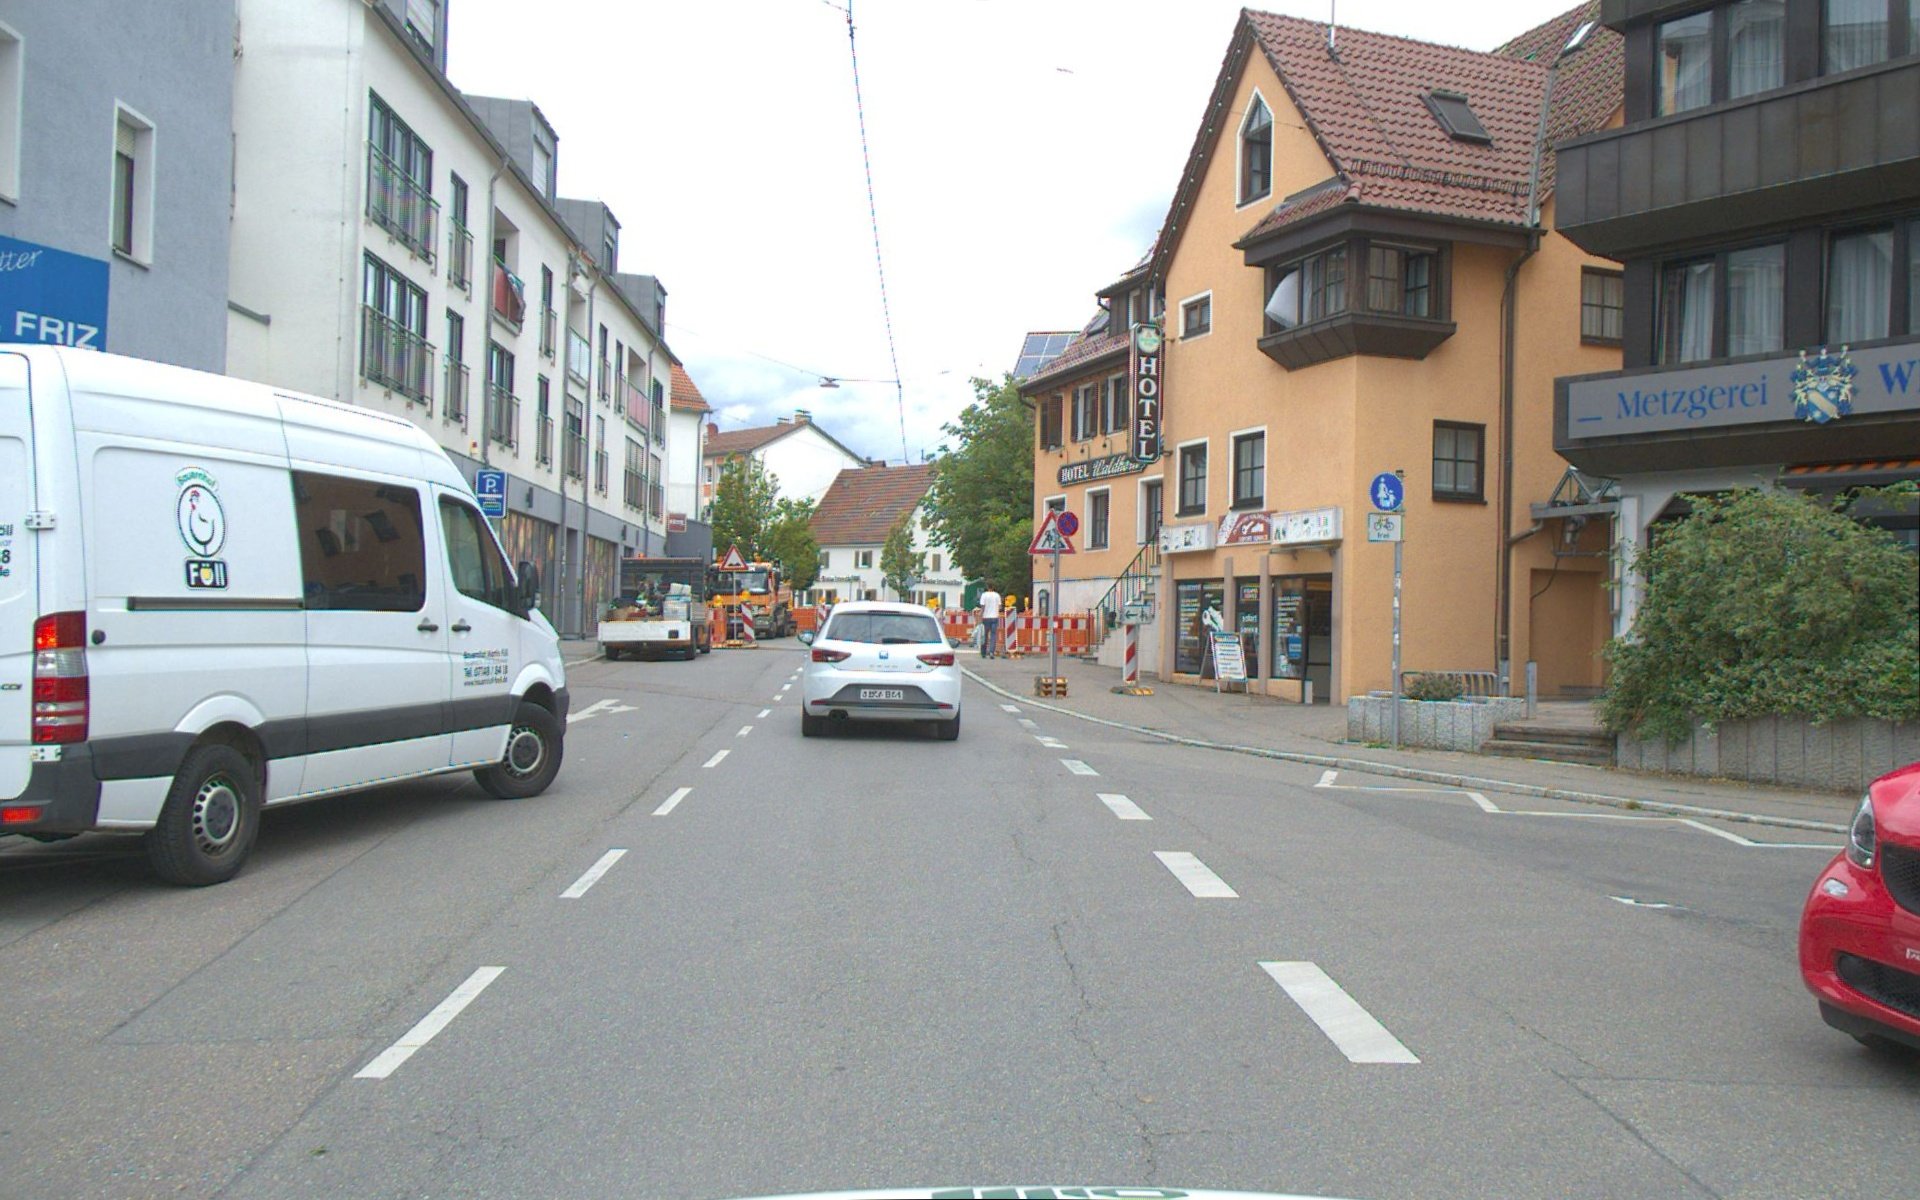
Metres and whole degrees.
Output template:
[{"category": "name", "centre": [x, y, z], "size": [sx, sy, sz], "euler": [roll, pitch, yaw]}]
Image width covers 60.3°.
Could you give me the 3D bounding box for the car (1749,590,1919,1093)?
[{"category": "car", "centre": [4.382, 0.753, 5.273], "size": [2.878, 1.547, 1.815], "euler": [0, 0, -11]}]

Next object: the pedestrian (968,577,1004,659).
[{"category": "pedestrian", "centre": [0.640, 0.441, 40.910], "size": [0.782, 1.984, 0.835], "euler": [0, 0, -5]}]

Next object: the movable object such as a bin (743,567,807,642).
[{"category": "movable object such as a bin", "centre": [-7.189, 0.217, 64.811], "size": [1.801, 2.812, 4.506], "euler": [1, -2, 2]}]

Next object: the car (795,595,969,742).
[{"category": "car", "centre": [-0.892, 0.702, 18.909], "size": [1.775, 1.506, 3.868], "euler": [0, 0, -3]}]

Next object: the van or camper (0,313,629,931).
[{"category": "van or camper", "centre": [-4.375, 0.081, 10.371], "size": [2.269, 2.653, 6.213], "euler": [0, 0, 11]}]

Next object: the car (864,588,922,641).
[{"category": "car", "centre": [-2.700, 0.597, 67.535], "size": [1.952, 2.049, 4.001], "euler": [1, -1, 3]}]

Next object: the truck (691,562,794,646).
[{"category": "truck", "centre": [-7.620, 0.145, 58.775], "size": [2.675, 2.772, 6.848], "euler": [1, 0, 1]}]

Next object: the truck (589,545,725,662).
[{"category": "truck", "centre": [-7.002, 0.065, 38.975], "size": [2.365, 2.509, 6.304], "euler": [0, 0, -3]}]
